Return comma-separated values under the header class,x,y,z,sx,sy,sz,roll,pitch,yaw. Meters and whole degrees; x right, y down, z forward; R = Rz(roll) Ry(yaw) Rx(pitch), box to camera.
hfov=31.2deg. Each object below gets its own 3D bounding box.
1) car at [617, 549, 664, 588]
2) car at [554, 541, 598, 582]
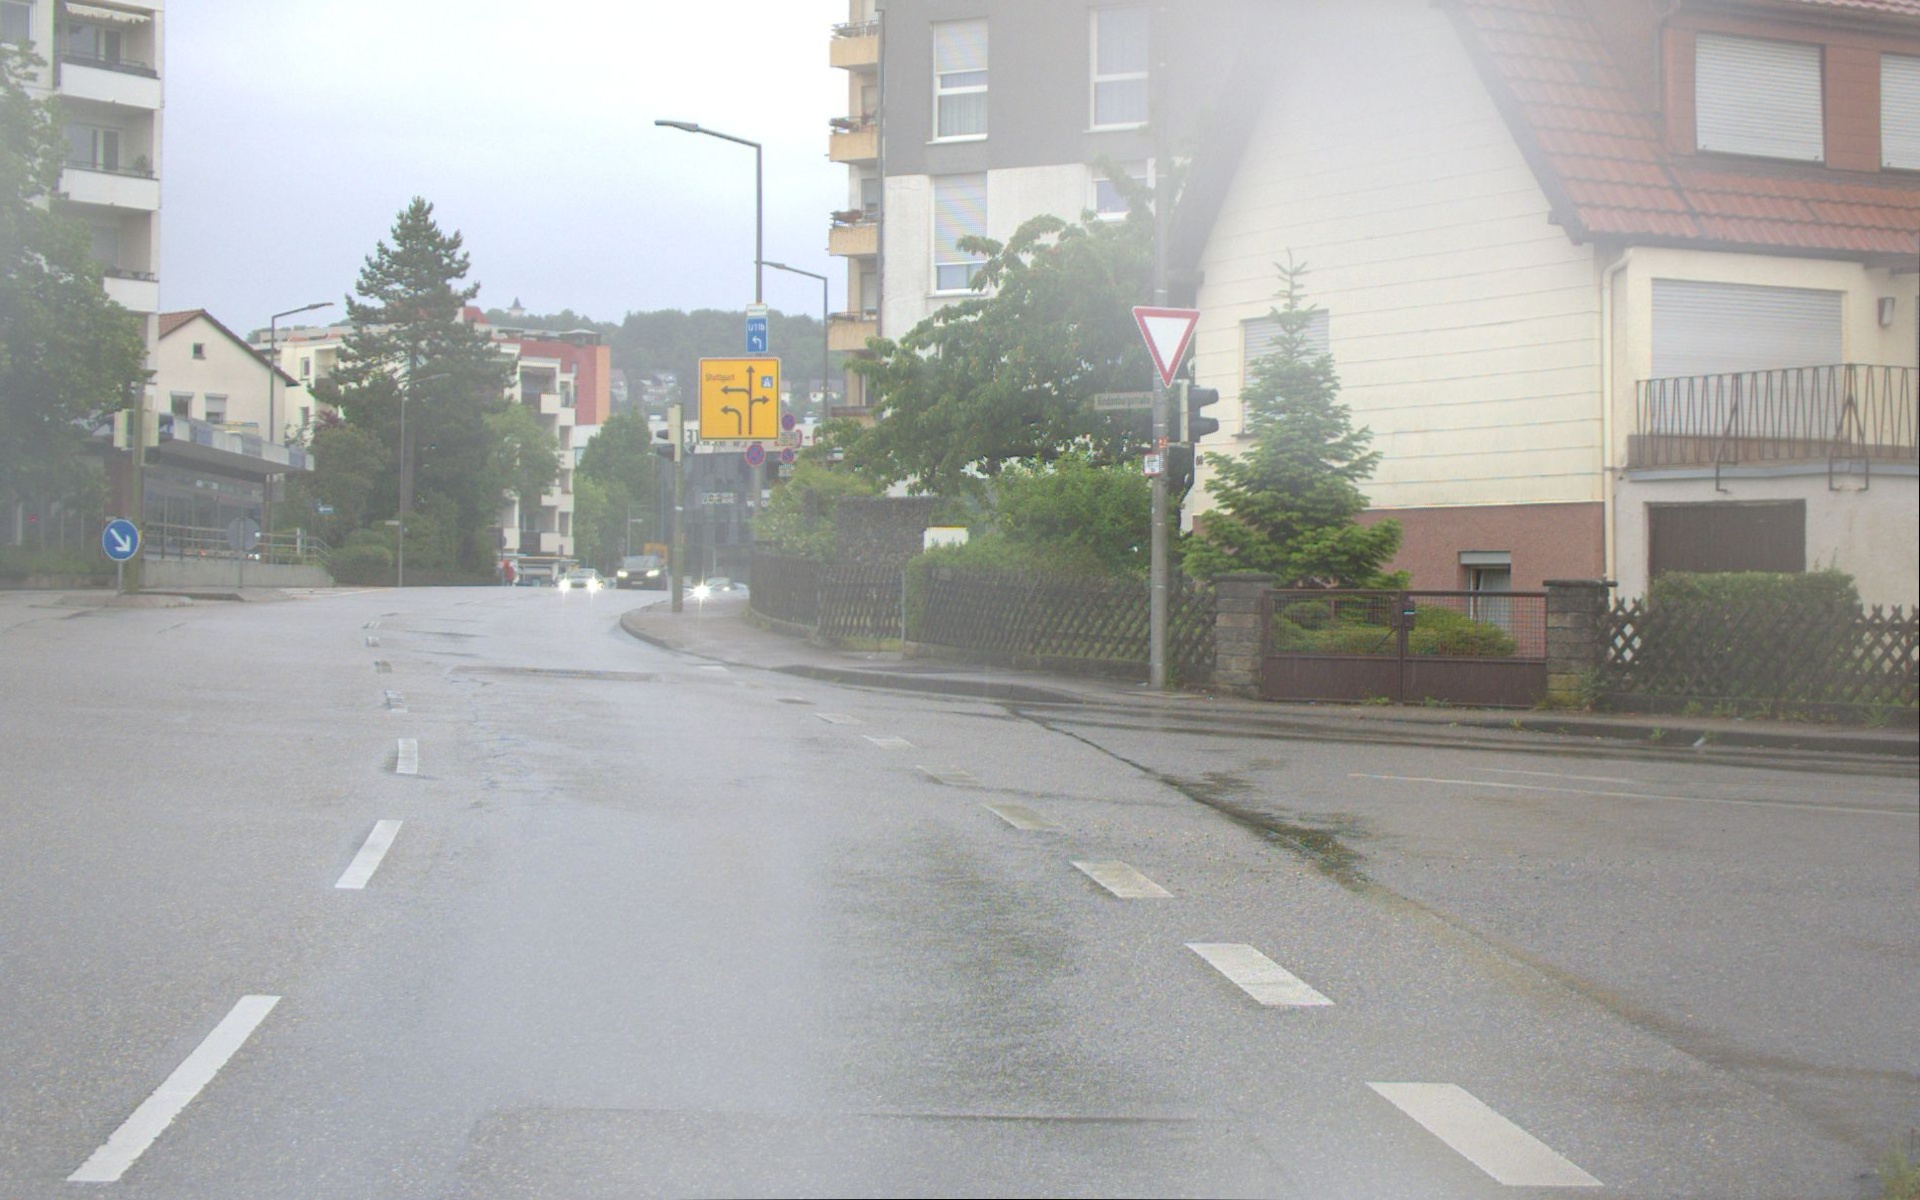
class,x,y,z,sx,sy,sz,roll,pitch,yaw
car,-14.779,-1.473,158.867,1.993,1.731,5.182,1,1,-7
car,-18.569,-1.861,166.365,1.993,1.897,4.001,1,1,-5
